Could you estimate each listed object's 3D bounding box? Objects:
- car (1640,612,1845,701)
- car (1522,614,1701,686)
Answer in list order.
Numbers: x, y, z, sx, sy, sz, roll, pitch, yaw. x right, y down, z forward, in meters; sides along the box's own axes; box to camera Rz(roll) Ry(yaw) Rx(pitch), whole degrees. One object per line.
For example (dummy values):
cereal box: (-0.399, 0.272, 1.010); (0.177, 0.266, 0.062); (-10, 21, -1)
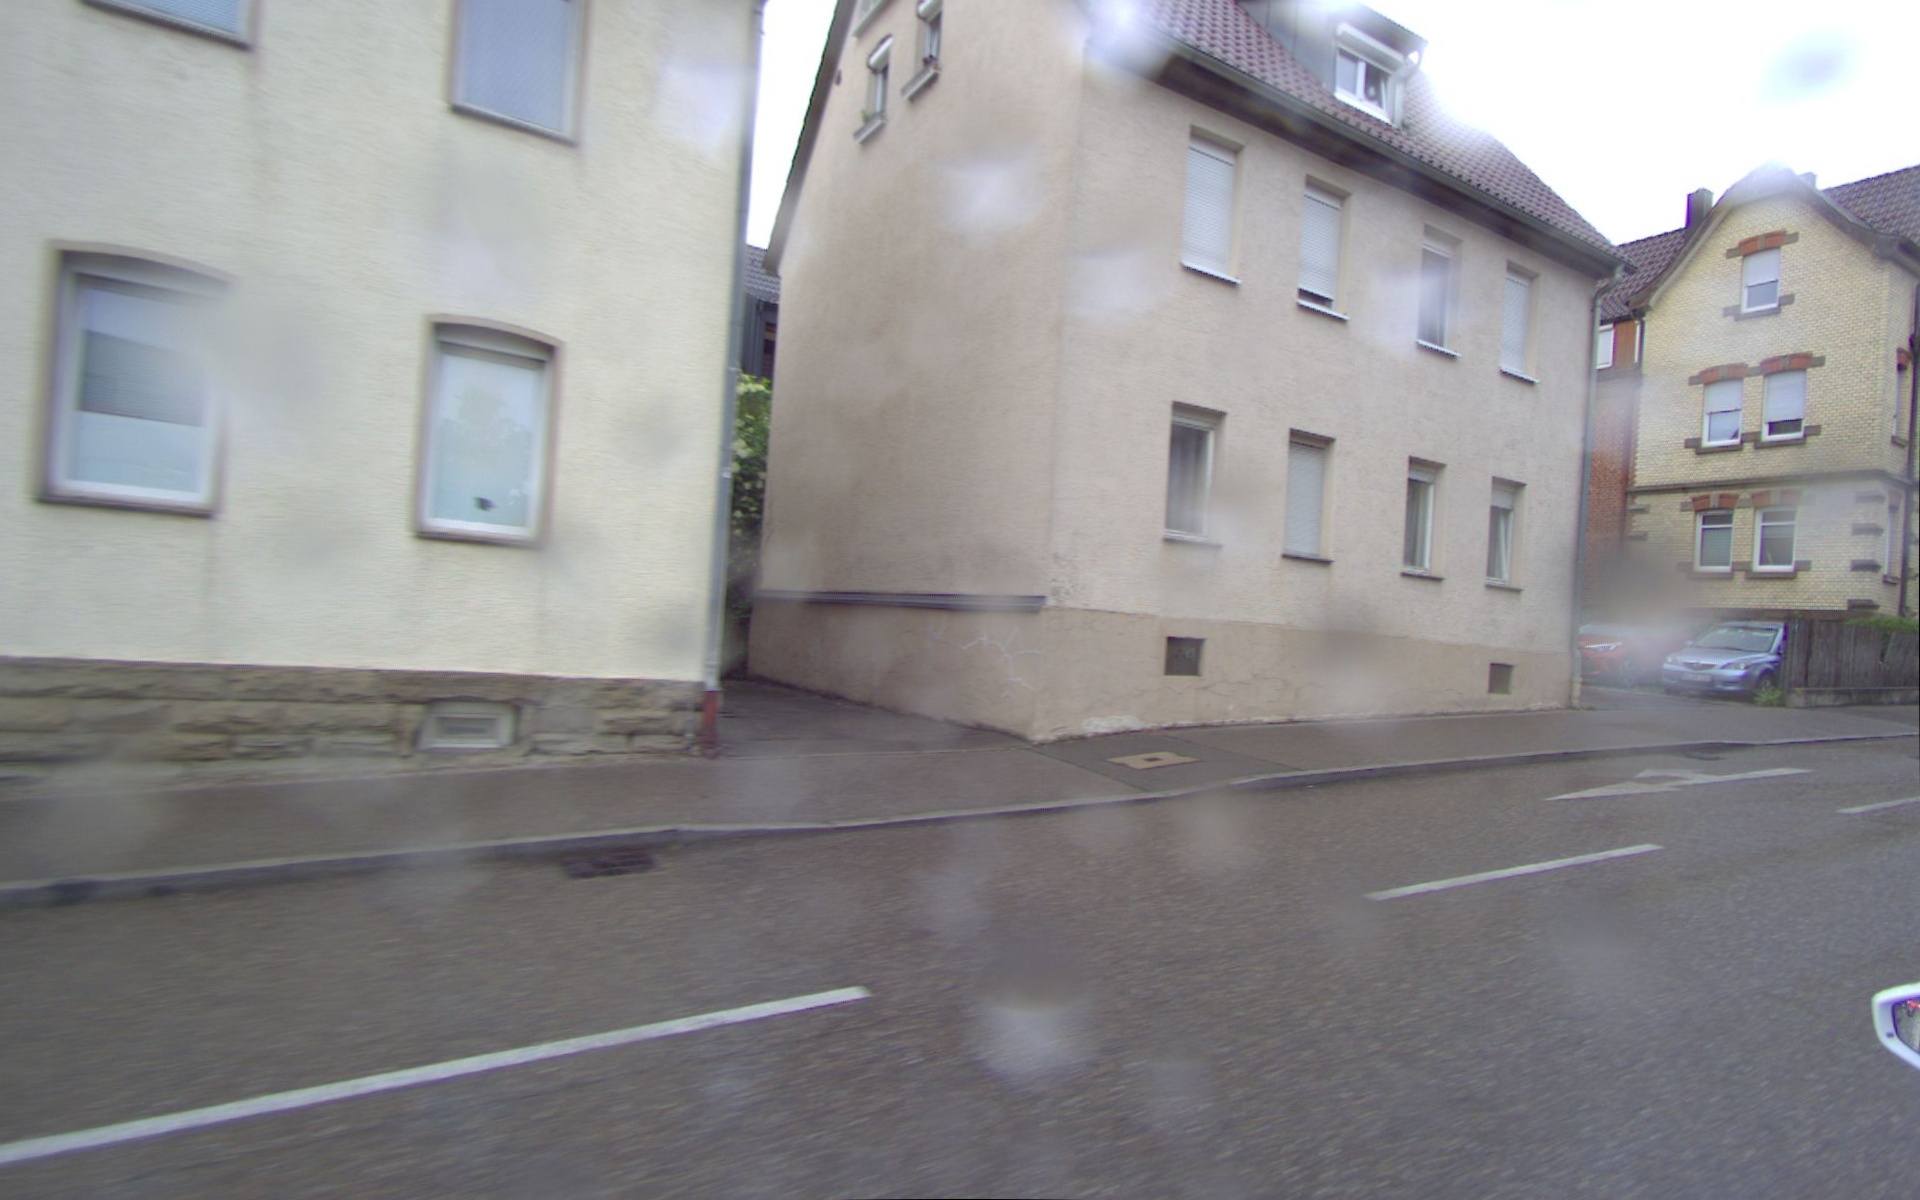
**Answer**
car: (15.370, 1.062, 19.720); (3.835, 1.523, 1.763); (1, 2, -29)
car: (14.462, 1.078, 22.281); (3.837, 1.386, 1.762); (1, 2, -30)
